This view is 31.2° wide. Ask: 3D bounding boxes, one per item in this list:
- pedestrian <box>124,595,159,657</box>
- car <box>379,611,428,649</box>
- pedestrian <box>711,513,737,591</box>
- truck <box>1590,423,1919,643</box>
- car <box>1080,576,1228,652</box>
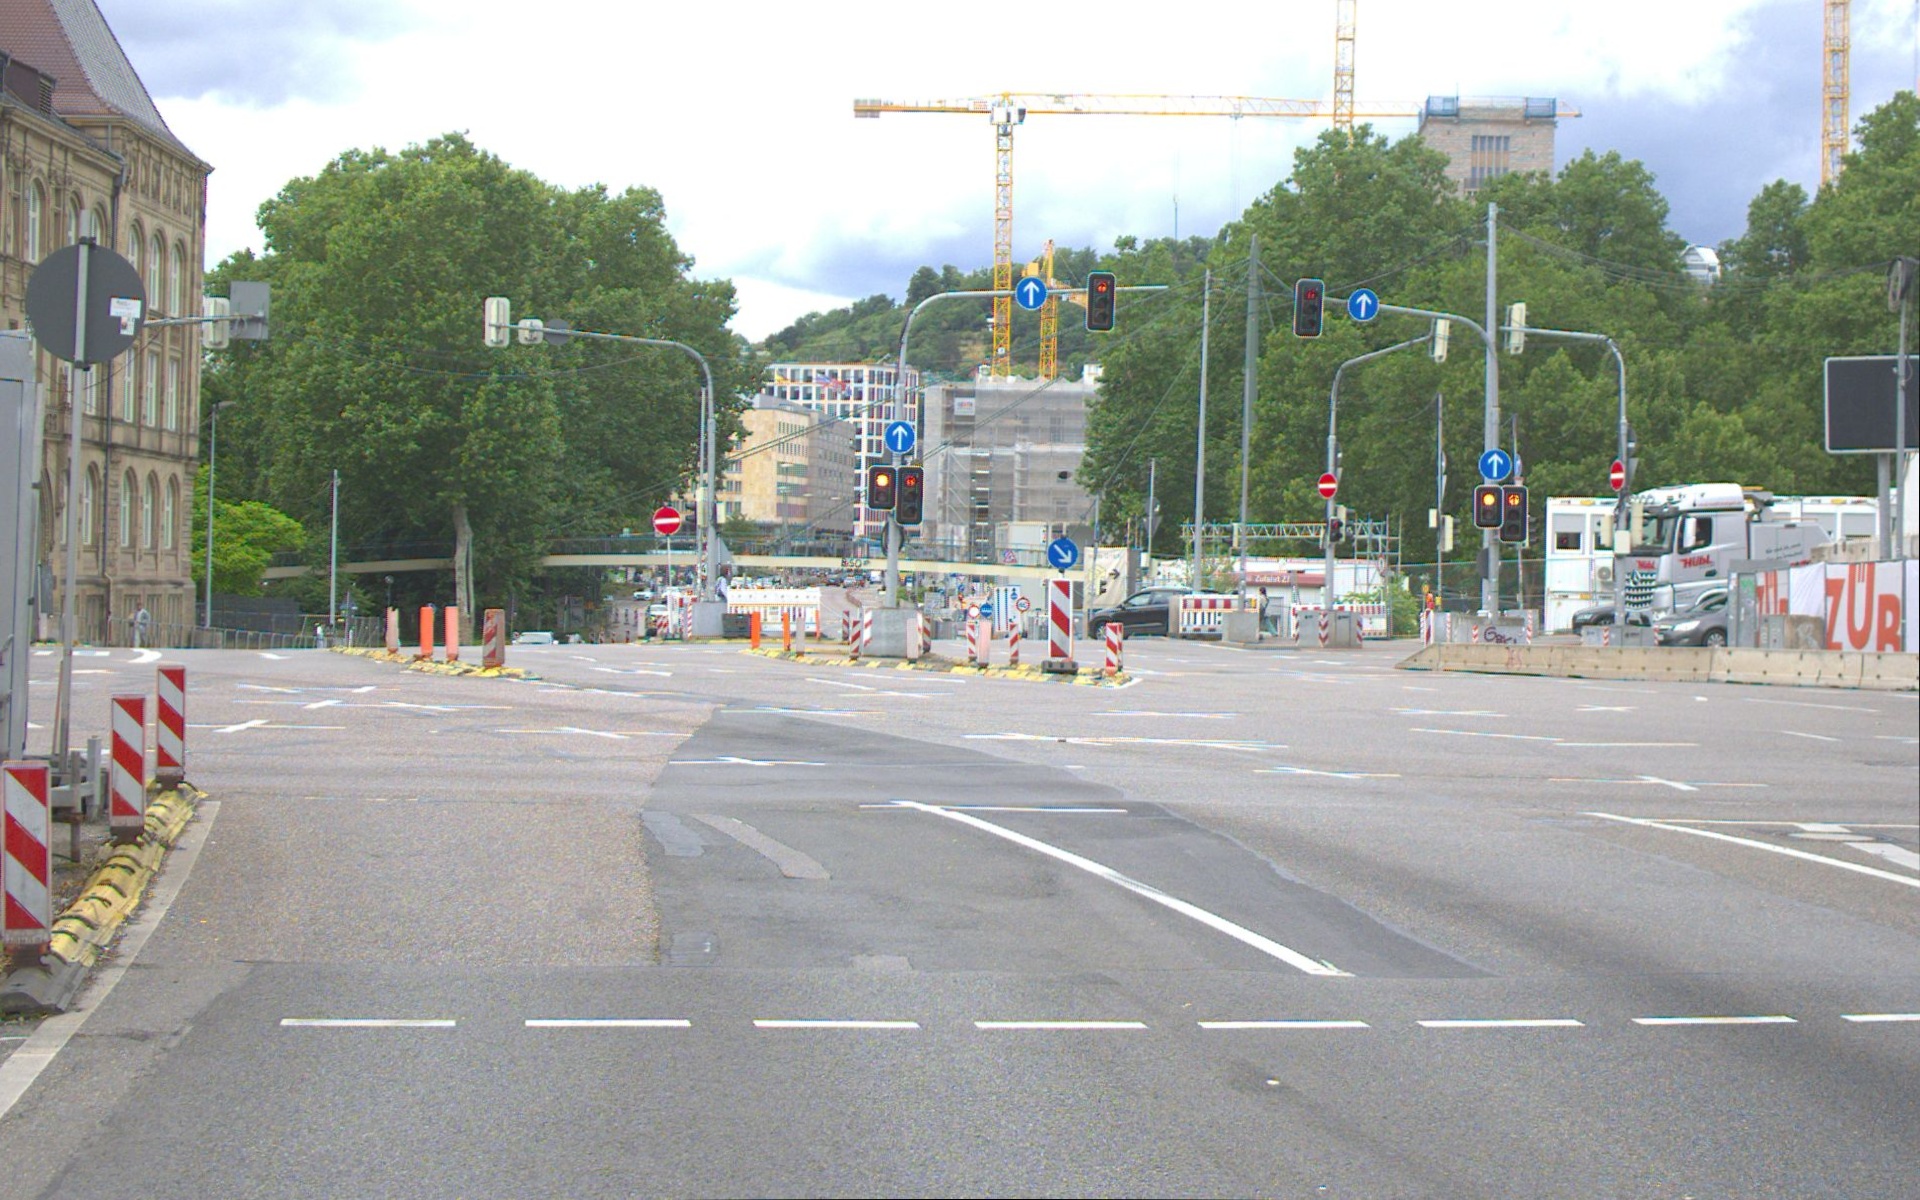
[{"bbox_3d":[-26.743,0.834,112.329,0.950,2.007,0.766,1,0,2],"label":"pedestrian"},{"bbox_3d":[-27.782,1.490,171.657,1.993,1.831,4.001,1,1,-3],"label":"car"},{"bbox_3d":[-5.542,-1.124,80.783,0.585,1.834,0.604,1,0,-4],"label":"pedestrian"},{"bbox_3d":[19.983,-1.508,80.990,9.712,4.943,3.114,1,0,-18],"label":"truck"},{"bbox_3d":[5.331,0.374,94.930,1.994,2.007,3.999,0,1,-36],"label":"car"}]
